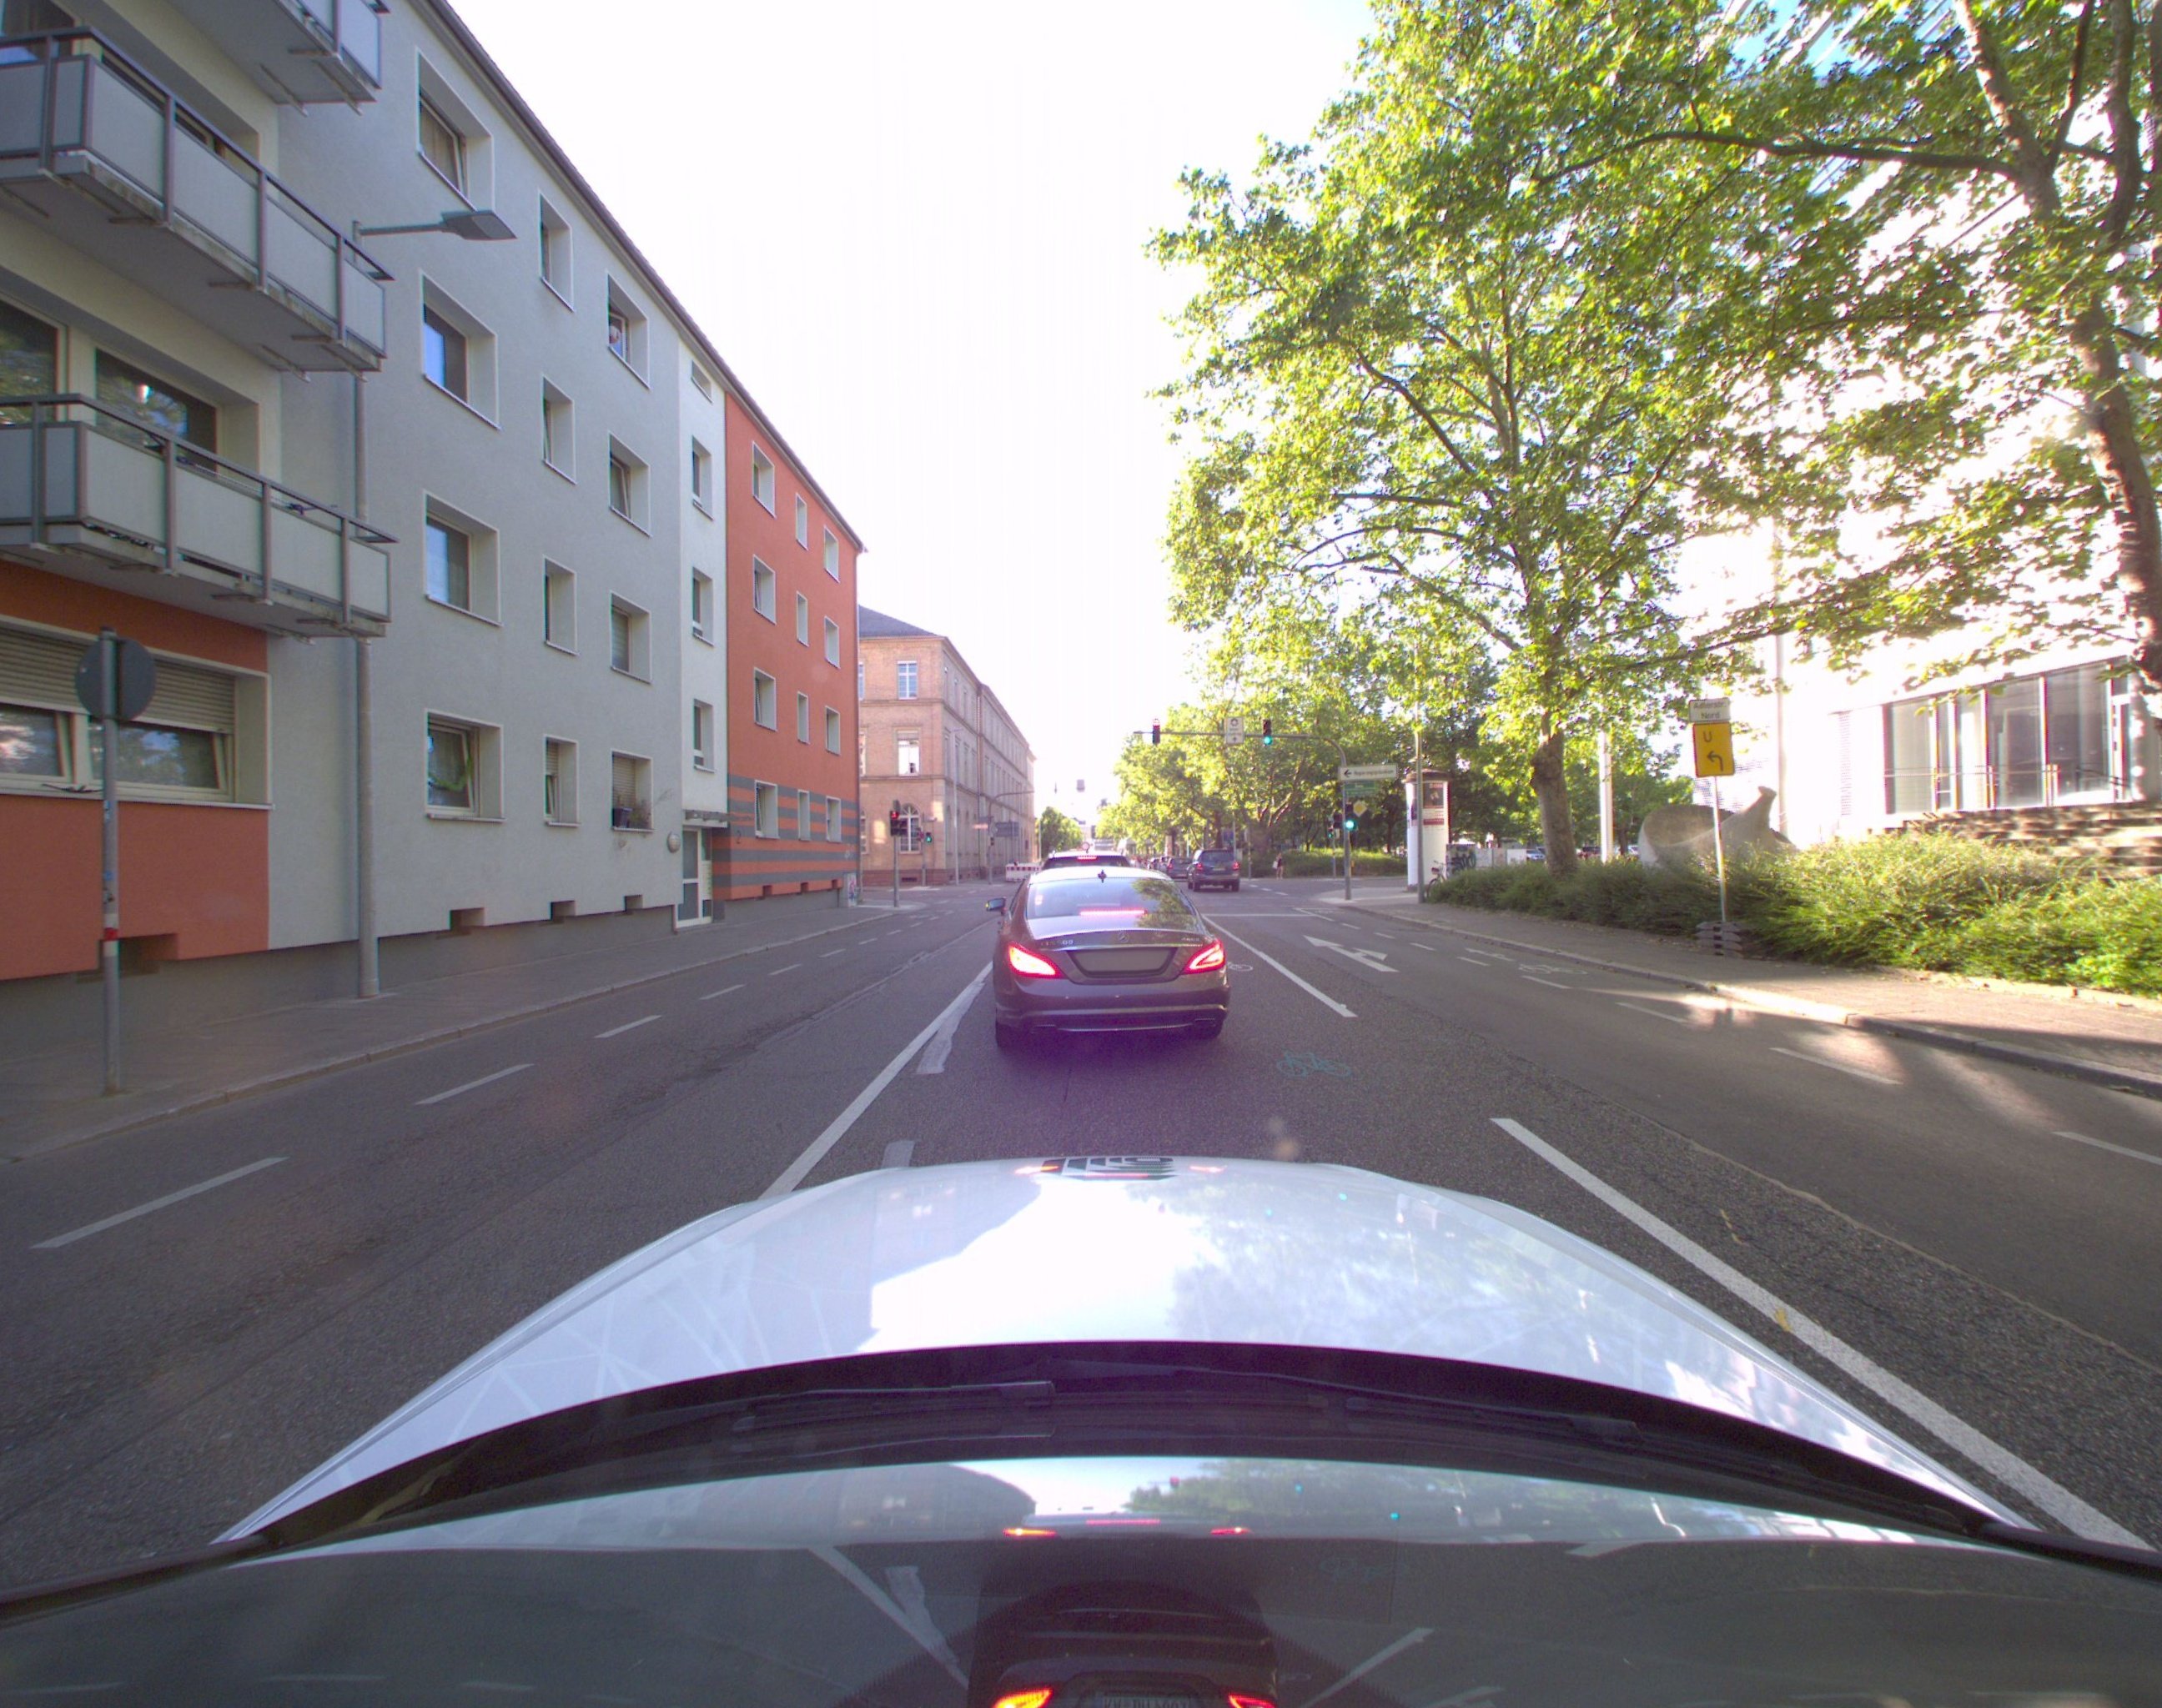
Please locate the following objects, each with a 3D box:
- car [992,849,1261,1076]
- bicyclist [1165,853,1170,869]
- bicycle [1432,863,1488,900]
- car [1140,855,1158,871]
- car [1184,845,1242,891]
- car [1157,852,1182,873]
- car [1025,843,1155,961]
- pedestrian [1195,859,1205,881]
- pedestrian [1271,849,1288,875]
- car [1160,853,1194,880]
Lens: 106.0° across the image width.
[{"bbox_3d":[0.147,0.737,7.604,1.859,1.519,3.992,-1,0,-6],"label":"car"},{"bbox_3d":[11.176,0.848,104.840,0.593,2.039,0.566,0,-1,-2],"label":"bicyclist"},{"bbox_3d":[10.987,0.780,23.578,1.895,1.028,0.635,0,-1,-36],"label":"bicycle"},{"bbox_3d":[6.906,0.897,82.721,1.595,1.549,3.682,0,-1,2],"label":"car"},{"bbox_3d":[5.467,0.549,34.201,1.854,1.764,4.483,-1,0,2],"label":"car"},{"bbox_3d":[7.255,0.673,66.790,1.725,1.662,3.682,0,-1,2],"label":"car"},{"bbox_3d":[0.195,0.696,13.739,1.854,1.682,4.002,-1,0,2],"label":"car"},{"bbox_3d":[9.611,1.274,65.857,0.634,1.797,0.698,0,-1,-2],"label":"pedestrian"},{"bbox_3d":[11.862,0.501,48.697,0.636,1.545,0.906,0,-1,-12],"label":"pedestrian"},{"bbox_3d":[5.814,0.725,49.499,1.698,1.519,4.002,-1,0,2],"label":"car"}]
